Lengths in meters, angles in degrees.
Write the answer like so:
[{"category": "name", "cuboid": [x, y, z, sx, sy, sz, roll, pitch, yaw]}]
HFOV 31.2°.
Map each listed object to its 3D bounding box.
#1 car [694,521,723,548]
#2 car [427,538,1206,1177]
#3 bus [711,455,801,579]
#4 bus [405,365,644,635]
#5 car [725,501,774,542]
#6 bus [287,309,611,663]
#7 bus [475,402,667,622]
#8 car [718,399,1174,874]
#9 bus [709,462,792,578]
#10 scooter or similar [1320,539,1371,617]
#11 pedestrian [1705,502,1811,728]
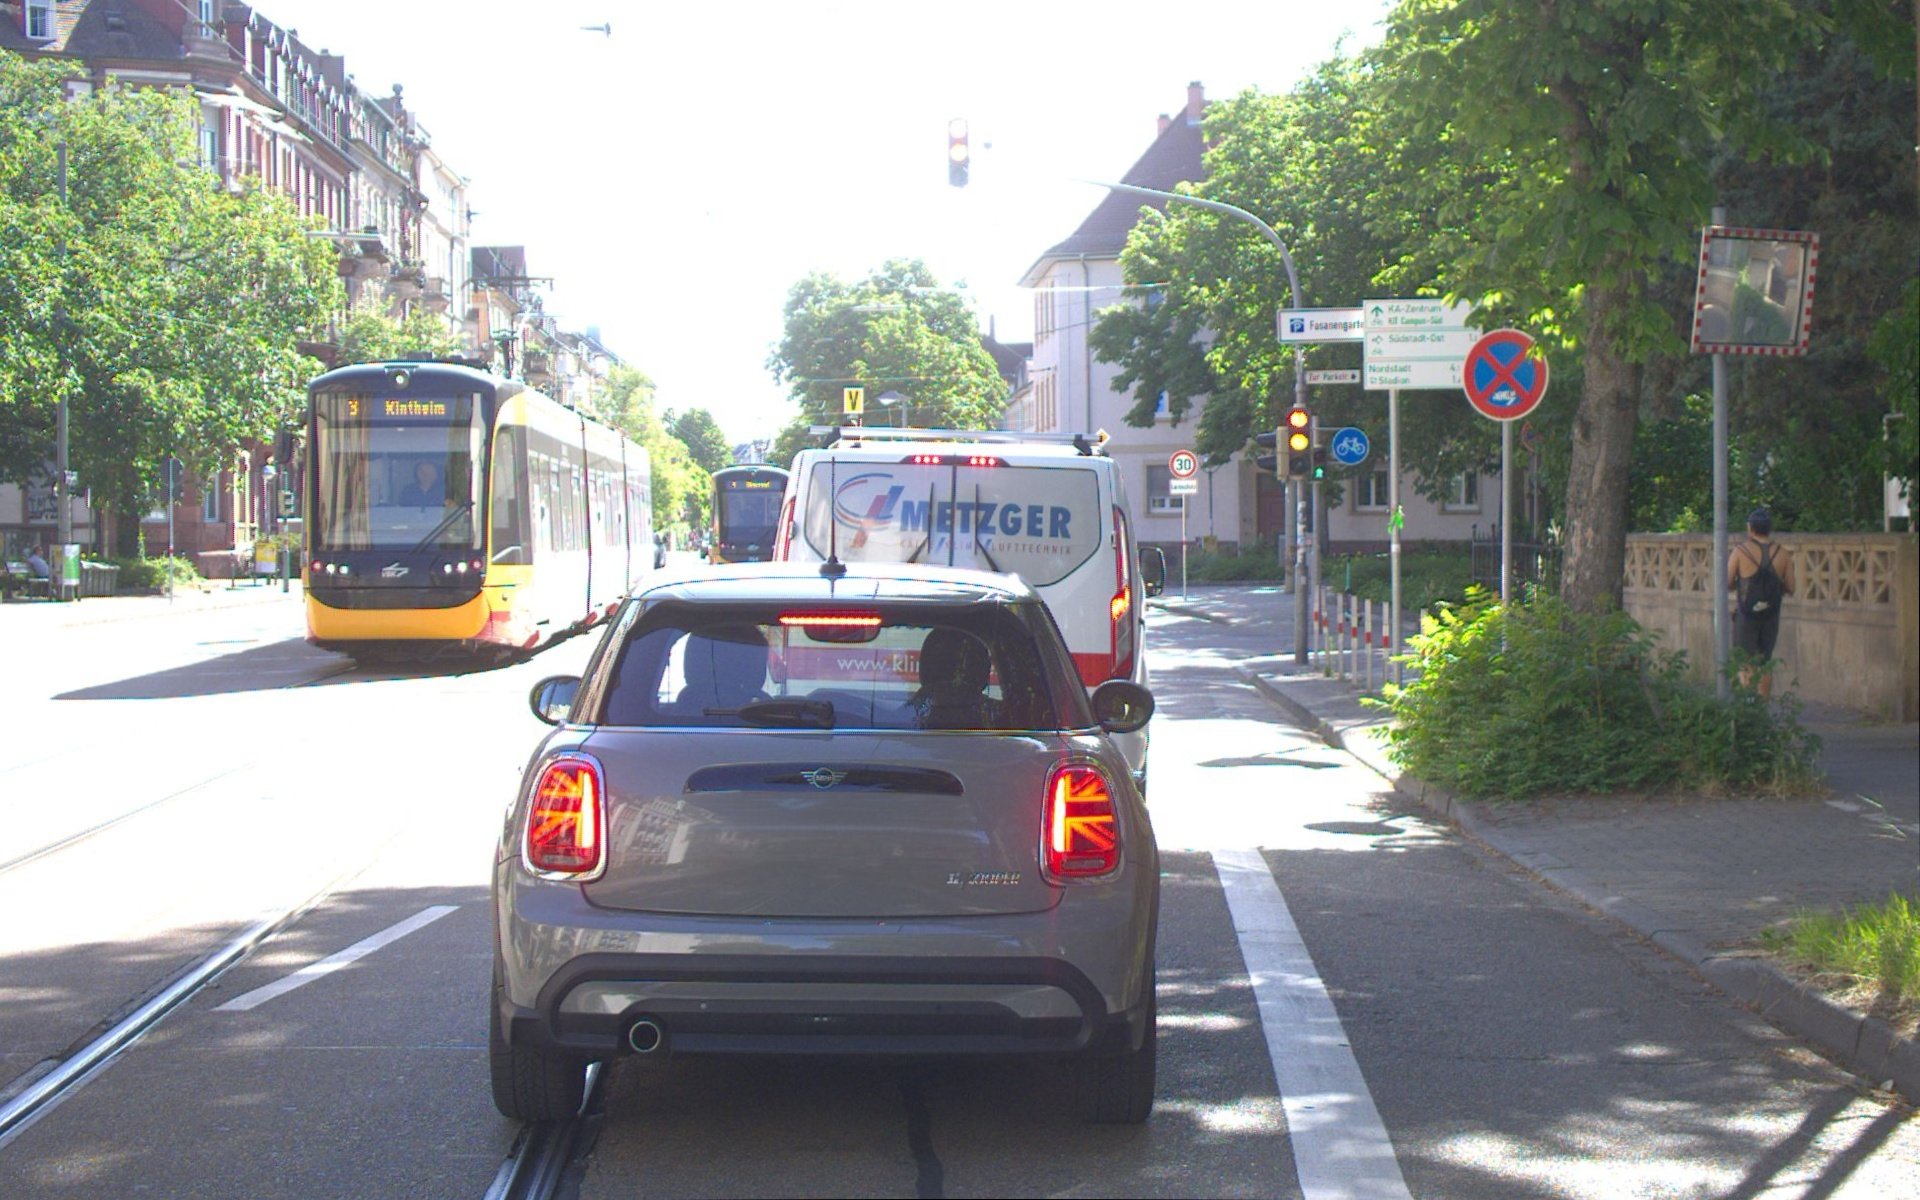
[{"category": "car", "cuboid": [-15.571, -4.069, 212.769, 1.775, 1.612, 4.001, 1, 1, -4]}, {"category": "car", "cuboid": [-0.362, 0.588, 10.105, 1.815, 1.483, 4.000, 1, 1, -1]}, {"category": "bus", "cuboid": [-6.023, -2.381, 100.748, 2.385, 3.484, 7.385, 1, 1, -5]}, {"category": "bus", "cuboid": [-6.646, -1.460, 54.034, 2.859, 3.764, 11.185, 1, 1, -3]}, {"category": "car", "cuboid": [-8.218, -3.051, 134.217, 1.863, 1.558, 4.001, 1, 1, -4]}, {"category": "bus", "cuboid": [-6.088, -1.284, 42.786, 2.859, 3.764, 11.499, 1, 1, -3]}, {"category": "bus", "cuboid": [-7.249, -1.583, 65.569, 2.849, 3.764, 12.199, 1, 1, -3]}, {"category": "car", "cuboid": [-0.094, 0.148, 18.635, 2.118, 2.200, 4.945, 1, 1, -1]}, {"category": "bus", "cuboid": [-6.626, -2.464, 108.134, 2.385, 3.484, 7.385, 1, 1, -5]}, {"category": "scooter or similar", "cuboid": [6.589, -0.374, 58.820, 0.676, 1.305, 1.329, 1, 0, -1]}, {"category": "pedestrian", "cuboid": [6.023, 0.111, 25.970, 0.592, 1.665, 0.647, -2, 0, -1]}]
